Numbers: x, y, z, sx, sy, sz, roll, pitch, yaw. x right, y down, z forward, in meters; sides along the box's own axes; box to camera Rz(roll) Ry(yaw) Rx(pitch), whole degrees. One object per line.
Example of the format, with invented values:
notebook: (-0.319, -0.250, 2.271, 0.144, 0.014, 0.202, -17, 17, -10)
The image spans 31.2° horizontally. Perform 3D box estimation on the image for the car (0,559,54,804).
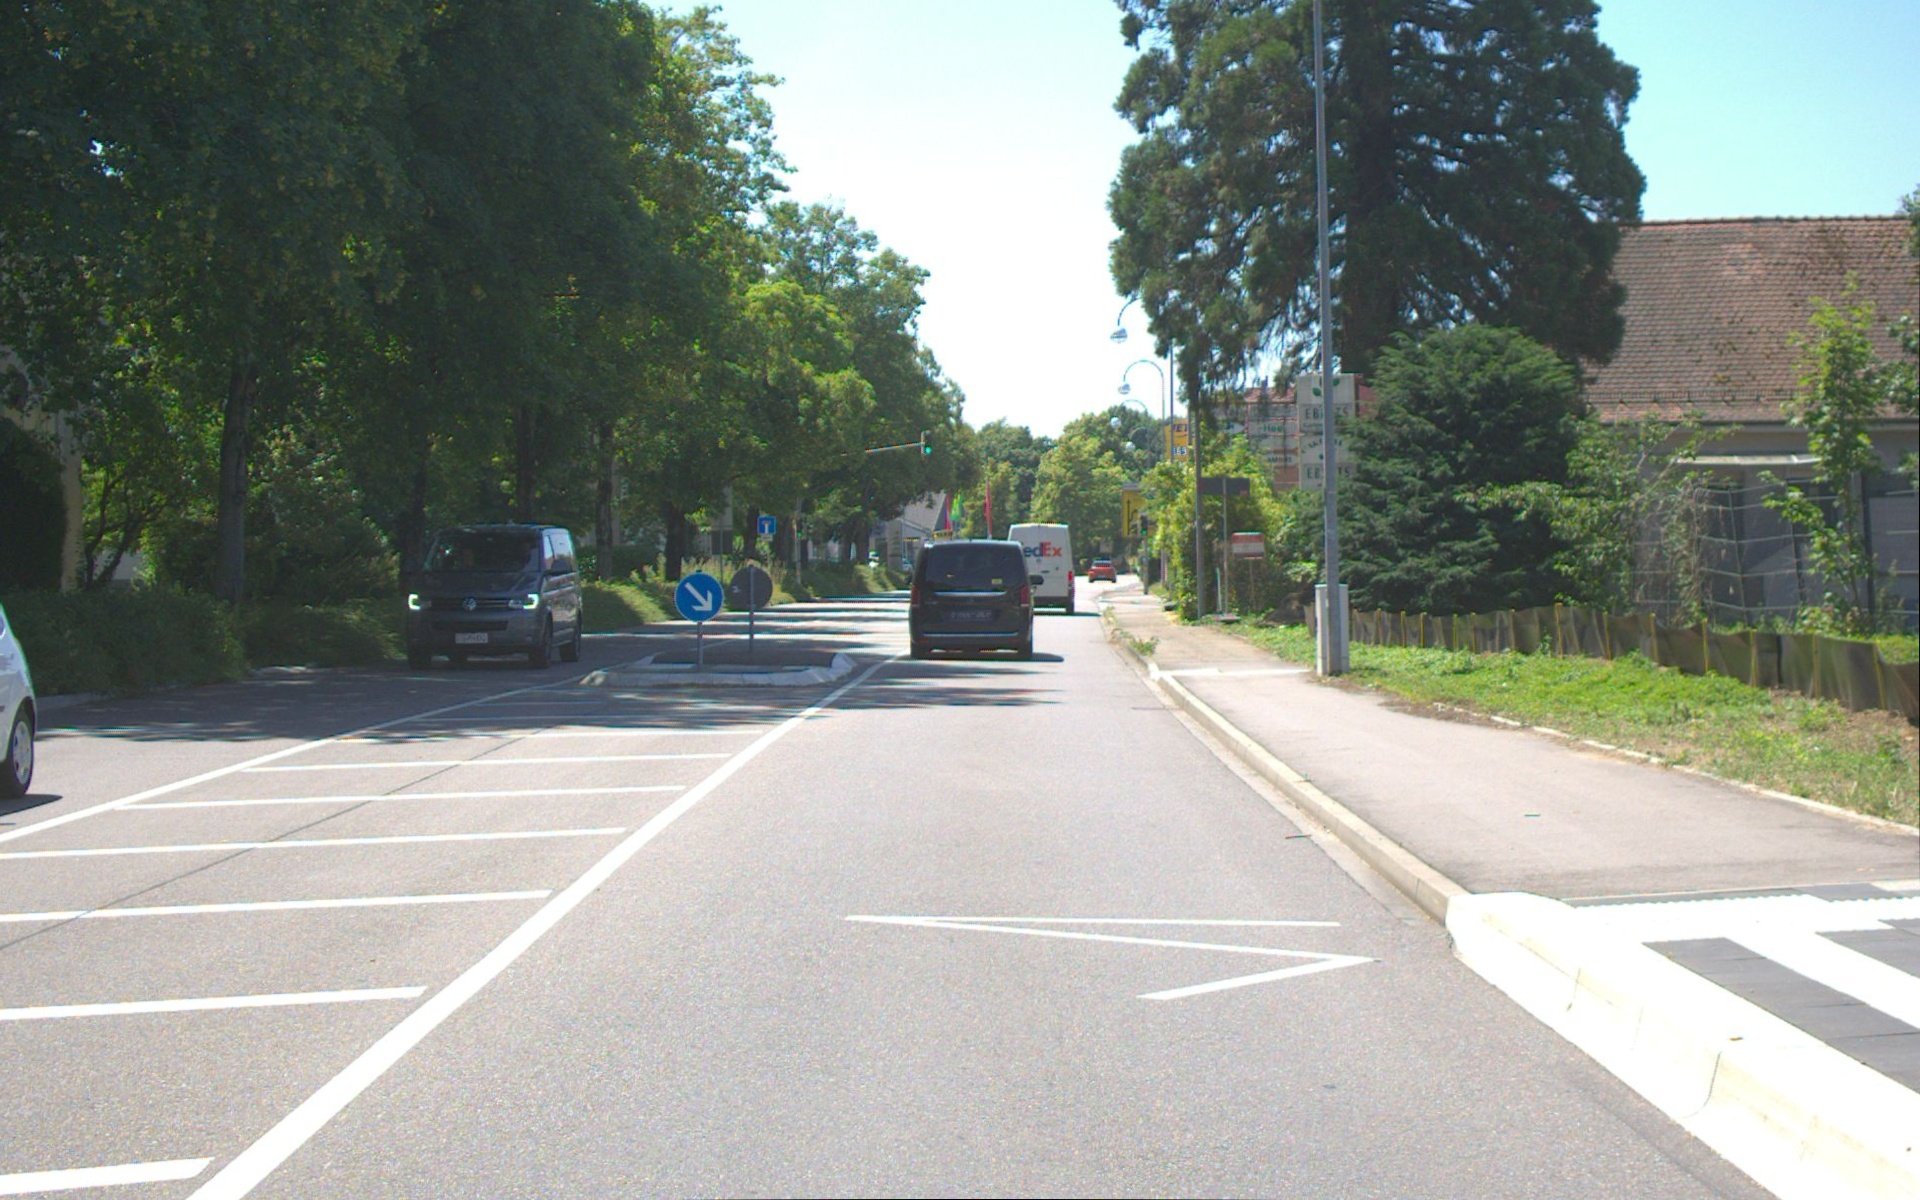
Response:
car: (-6.627, 0.507, 20.095, 1.691, 1.455, 3.640, 1, 1, 0)

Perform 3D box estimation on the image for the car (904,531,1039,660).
car: (0.149, -0.108, 53.457, 1.993, 1.886, 4.000, 1, 1, -1)

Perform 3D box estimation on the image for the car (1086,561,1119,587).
car: (9.325, -1.719, 225.583, 1.857, 1.637, 4.001, 1, 1, -2)

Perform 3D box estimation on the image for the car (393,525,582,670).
car: (-6.508, -0.086, 47.844, 1.993, 1.903, 4.991, 0, 1, -1)

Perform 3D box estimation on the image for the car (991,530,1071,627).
car: (2.077, -0.659, 98.760, 2.120, 2.668, 5.662, 1, 1, 3)
